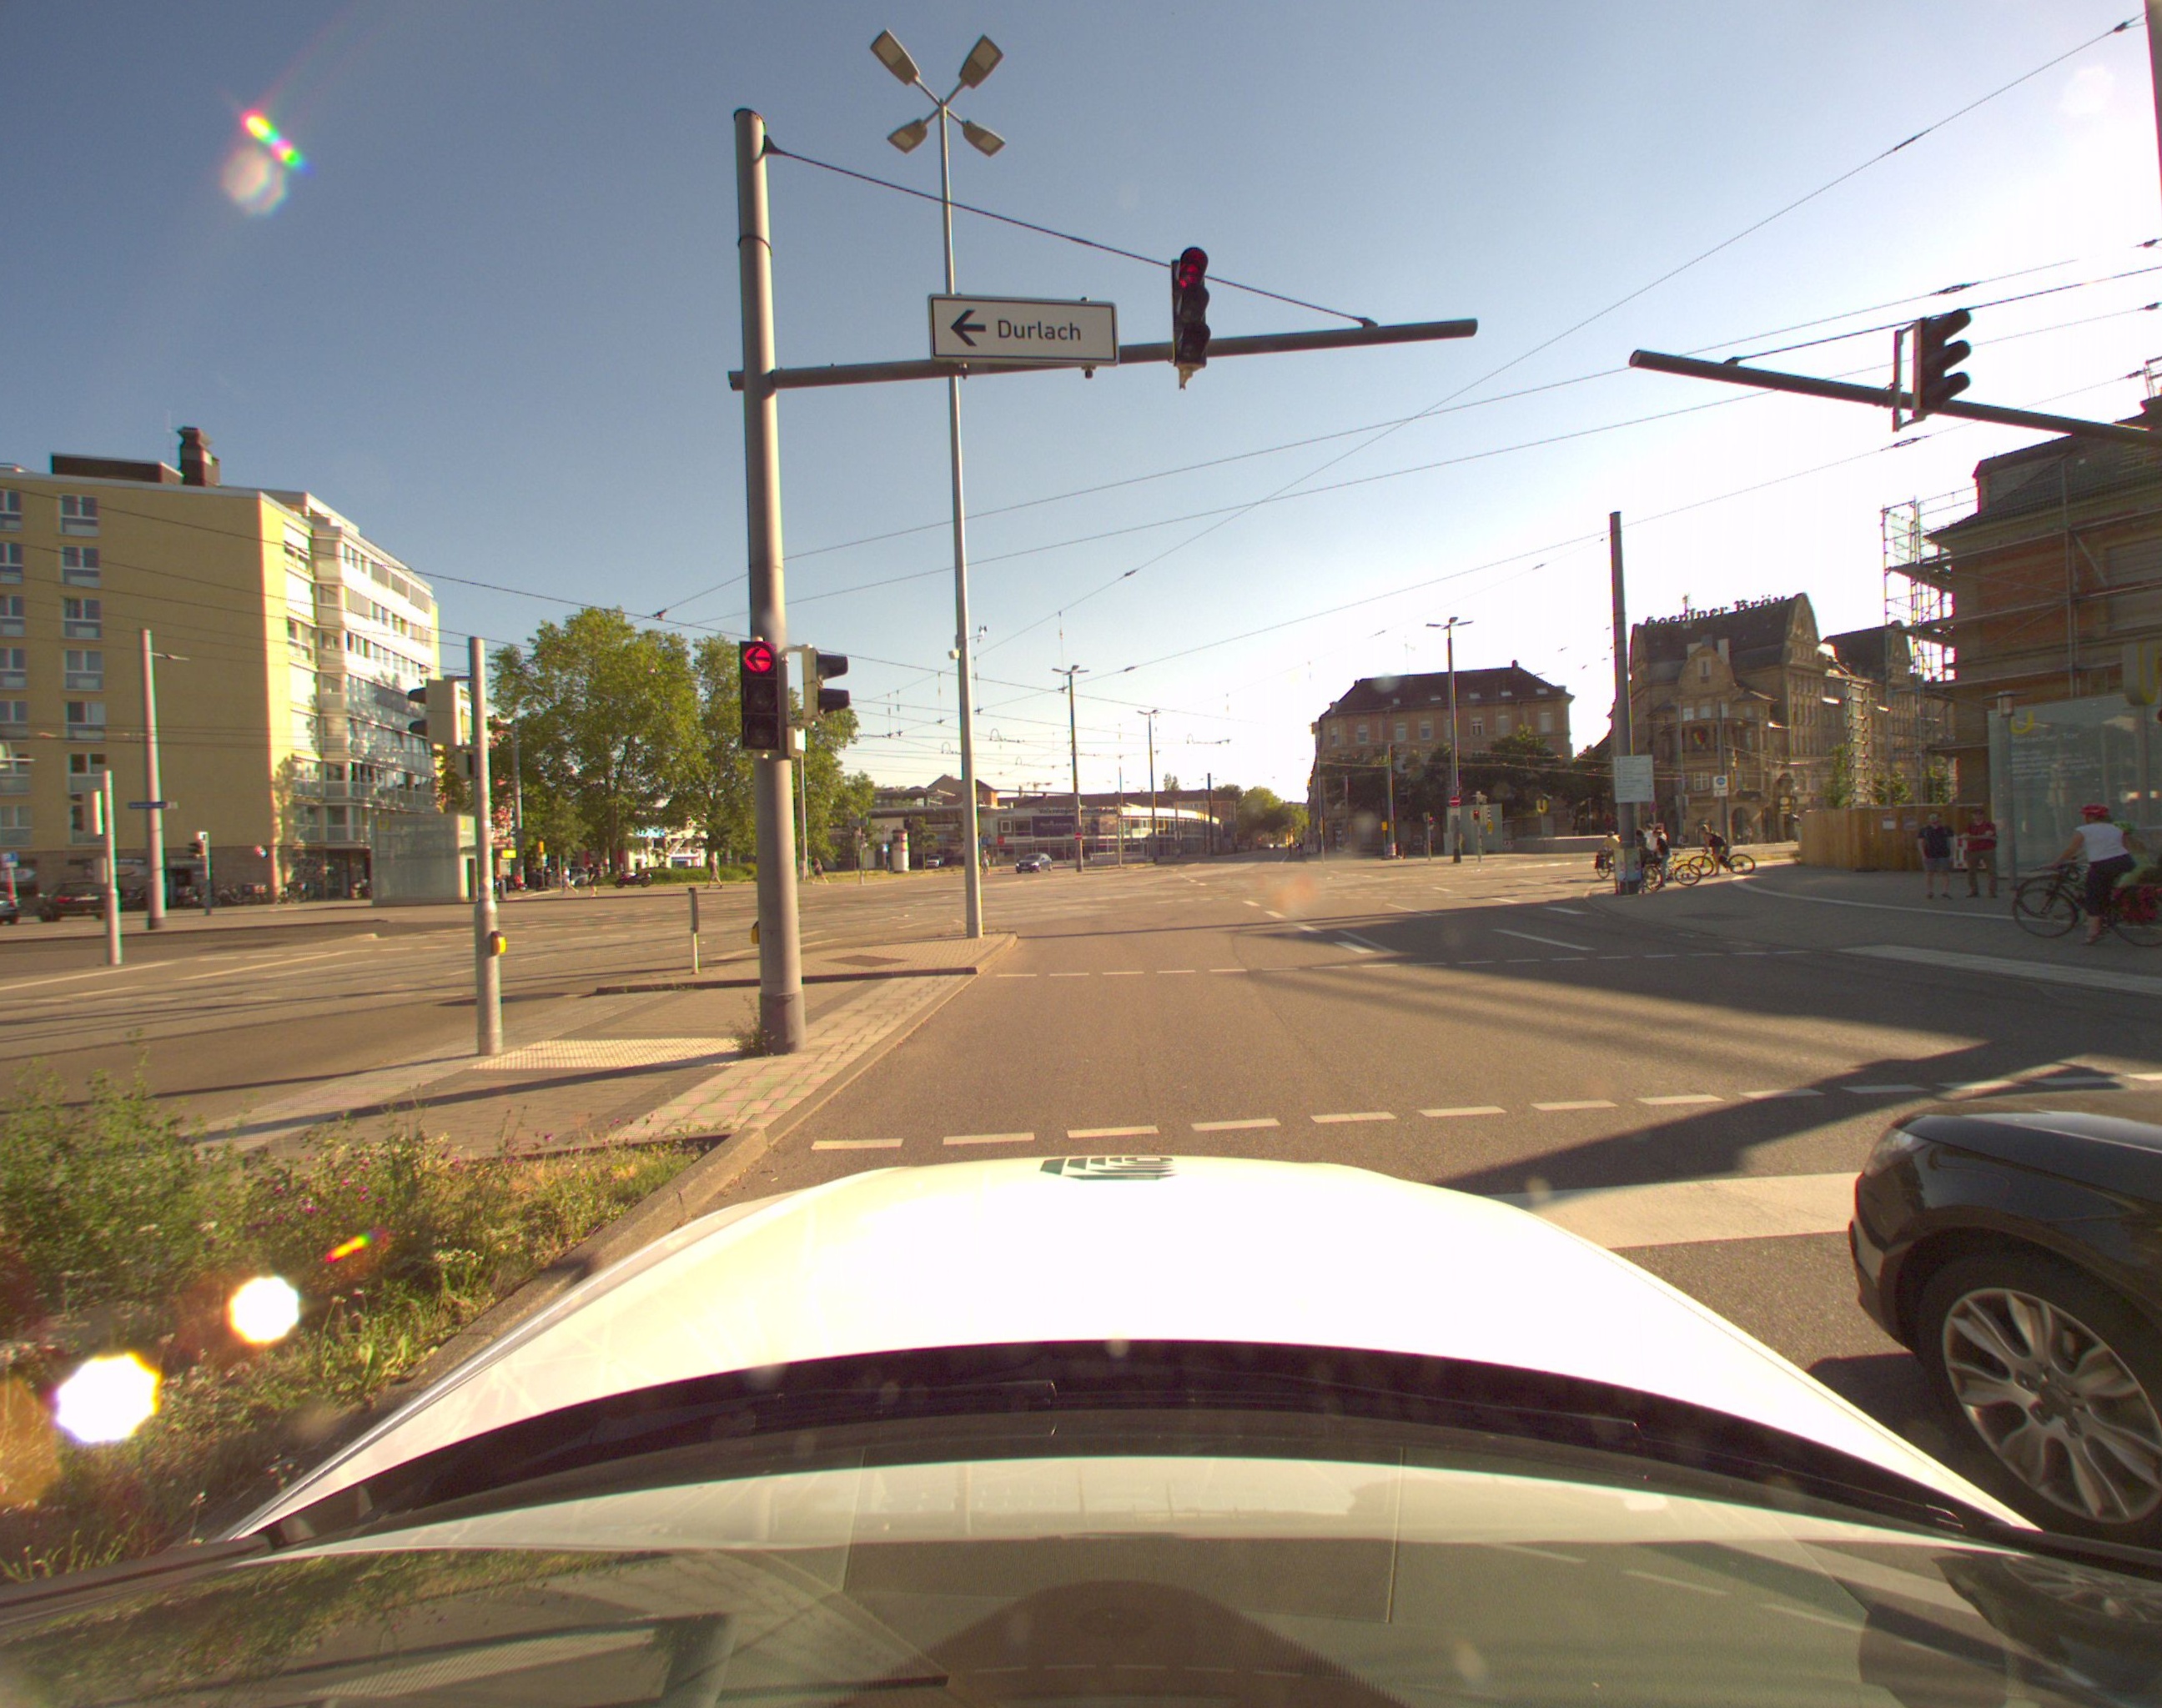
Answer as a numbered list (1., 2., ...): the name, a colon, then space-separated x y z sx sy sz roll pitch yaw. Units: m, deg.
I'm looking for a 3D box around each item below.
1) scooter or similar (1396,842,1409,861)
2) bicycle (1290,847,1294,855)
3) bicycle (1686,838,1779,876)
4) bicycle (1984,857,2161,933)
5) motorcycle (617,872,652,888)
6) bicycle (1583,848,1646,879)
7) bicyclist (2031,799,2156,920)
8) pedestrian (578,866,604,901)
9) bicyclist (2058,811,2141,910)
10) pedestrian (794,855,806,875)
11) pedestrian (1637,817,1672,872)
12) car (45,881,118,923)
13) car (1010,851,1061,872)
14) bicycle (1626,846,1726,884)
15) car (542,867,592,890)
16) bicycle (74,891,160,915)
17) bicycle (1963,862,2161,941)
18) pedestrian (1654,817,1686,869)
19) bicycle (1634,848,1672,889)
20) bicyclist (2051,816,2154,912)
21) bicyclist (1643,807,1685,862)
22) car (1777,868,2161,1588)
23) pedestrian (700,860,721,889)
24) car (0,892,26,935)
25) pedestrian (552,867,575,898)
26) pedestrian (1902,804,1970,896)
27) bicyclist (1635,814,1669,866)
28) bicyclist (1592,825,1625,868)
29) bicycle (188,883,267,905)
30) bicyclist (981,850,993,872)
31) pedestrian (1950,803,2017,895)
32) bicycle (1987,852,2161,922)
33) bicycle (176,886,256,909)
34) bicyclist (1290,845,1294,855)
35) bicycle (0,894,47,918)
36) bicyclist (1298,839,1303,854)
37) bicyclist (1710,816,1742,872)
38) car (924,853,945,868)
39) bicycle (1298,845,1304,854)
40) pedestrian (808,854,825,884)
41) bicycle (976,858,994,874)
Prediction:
1. scooter or similar: 24.724 -0.180 62.677 0.780 1.376 1.916 -1 -1 16
2. bicycle: 25.918 -0.388 99.911 0.407 0.941 1.852 -1 -1 15
3. bicycle: 21.258 0.107 26.649 2.290 1.049 0.539 -5 -1 36
4. bicycle: 14.463 0.544 11.671 0.657 0.963 2.033 -4 0 -3
5. motorcycle: -27.267 1.577 49.753 1.779 0.914 0.675 0 -1 -19
6. bicycle: 19.208 0.304 29.377 0.533 1.049 2.315 0 1 -6
7. bicyclist: 13.466 0.076 10.858 0.664 1.553 0.794 0 -1 -3
8. pedestrian: -24.524 1.471 40.748 0.790 1.706 0.760 -1 -1 9
9. bicyclist: 15.565 0.095 12.447 0.619 1.454 0.667 0 -1 -27
10. pedestrian: -24.532 0.944 71.017 0.854 1.694 0.497 0 -1 -1
11. pedestrian: 21.400 -0.351 30.379 0.730 2.014 0.760 0 -1 -6
12. car: -44.252 2.064 36.026 3.948 1.706 1.730 -1 -1 35
13. car: -3.434 0.563 62.005 1.975 1.585 4.024 -1 -1 29
14. bicycle: 17.292 0.325 23.739 2.290 1.049 0.705 -1 -1 32
15. car: -37.309 1.719 59.235 1.772 1.567 3.983 0 -1 -12
16. bicycle: -50.239 2.539 42.468 3.041 1.151 0.637 0 -1 -16
17. bicycle: 13.456 0.600 11.070 0.656 0.963 2.033 0 -1 -3
18. pedestrian: 22.077 -0.390 30.534 0.646 1.922 0.689 0 -1 -6
19. bicycle: 15.972 0.379 22.792 0.692 1.049 2.335 0 1 31
20. bicyclist: 14.449 0.140 11.537 0.614 1.315 0.673 0 -1 -3
21. bicyclist: 17.086 -0.557 23.872 0.935 1.557 0.715 -1 -1 32
22. car: 2.900 0.732 0.497 1.617 1.404 4.001 0 0 2
23. pedestrian: -21.733 1.199 47.768 0.790 1.706 0.760 -1 -1 9
24. car: -47.032 2.545 34.899 3.948 1.706 2.013 -1 -1 35
25. pedestrian: -28.495 1.569 44.851 0.790 1.706 0.760 -1 -1 9
26. pedestrian: 17.337 -0.086 16.514 0.672 1.807 0.680 -3 0 -19
27. bicyclist: 16.023 -0.383 22.880 0.701 1.439 0.953 -1 -1 31
28. bicyclist: 19.177 -0.262 29.614 0.514 1.557 0.945 0 -1 -7
29. bicycle: -46.342 2.166 44.237 3.041 1.151 0.637 0 -1 -16
30. bicyclist: -6.970 0.545 60.201 0.593 1.615 0.827 -1 -1 19
31. pedestrian: 18.154 -0.093 16.394 0.672 1.807 0.680 0 -1 -19
32. bicycle: 15.527 0.479 12.523 0.661 0.963 2.018 -4 1 -25
33. bicycle: -46.247 2.297 43.573 3.041 1.151 0.637 0 -1 -16
34. bicyclist: 25.883 -0.482 99.865 0.405 1.116 0.400 -1 -1 13
35. bicycle: -54.493 2.639 41.116 3.041 1.151 0.637 0 -1 -16
36. bicyclist: 24.523 -0.837 90.994 0.514 1.700 0.518 -1 -1 17
37. bicyclist: 21.158 -0.318 26.737 0.785 1.779 0.526 -1 -1 37
38. car: -17.940 0.813 100.053 1.988 1.750 3.997 0 -1 -1
39. bicycle: 24.587 -0.471 90.998 0.652 0.952 1.607 -1 -1 17
40. pedestrian: -16.801 0.968 51.696 0.790 1.886 0.760 -1 -1 9
41. bicycle: -7.059 0.881 59.953 0.607 1.189 1.878 -1 -1 19
